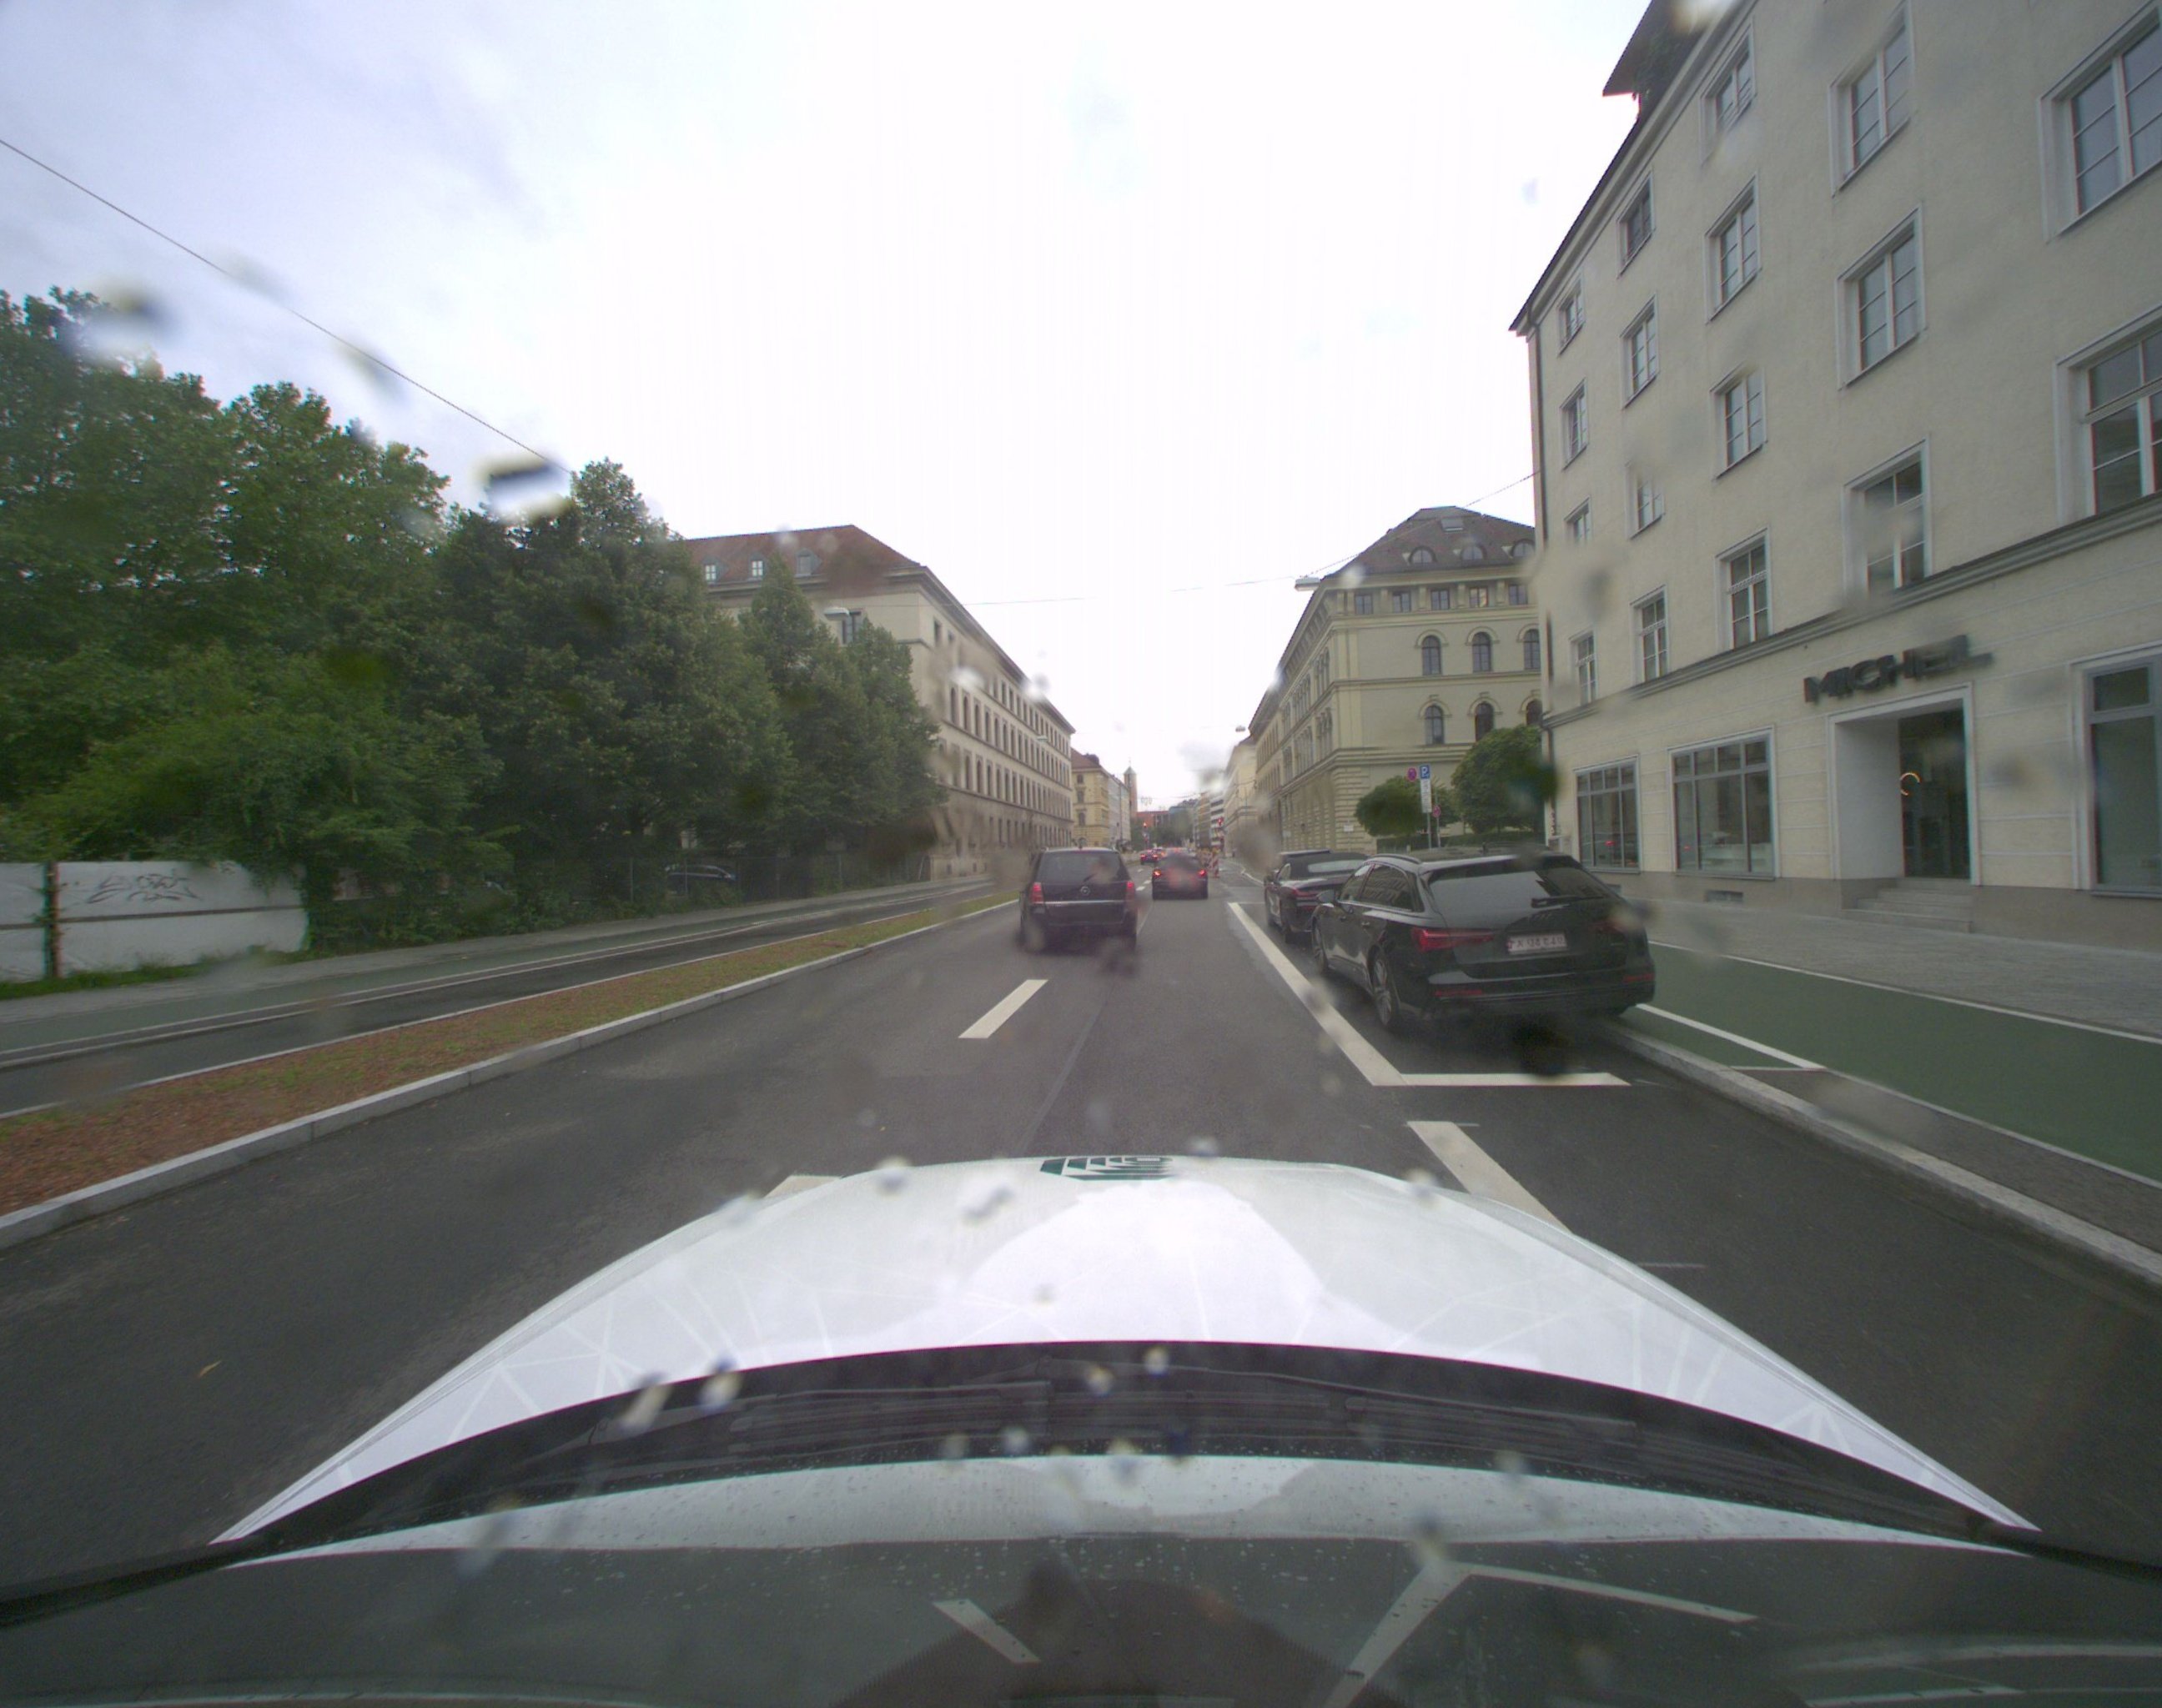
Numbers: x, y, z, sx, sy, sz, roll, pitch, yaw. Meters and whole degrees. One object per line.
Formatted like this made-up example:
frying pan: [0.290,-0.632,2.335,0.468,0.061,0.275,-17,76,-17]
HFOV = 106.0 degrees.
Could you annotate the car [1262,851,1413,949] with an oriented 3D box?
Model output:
car: [4.281,0.668,14.329,1.815,1.407,4.731,-1,0,9]

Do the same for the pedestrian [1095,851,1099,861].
pedestrian: [2.999,0.373,149.725,0.652,1.805,0.729,-2,0,7]

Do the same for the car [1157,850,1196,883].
car: [4.452,0.551,37.758,1.720,1.403,4.009,-1,0,7]

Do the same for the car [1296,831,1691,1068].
car: [3.412,0.651,7.845,1.800,1.480,4.470,-6,0,6]

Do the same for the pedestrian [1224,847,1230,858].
pedestrian: [22.021,-0.254,122.739,0.746,1.618,0.715,-2,0,15]

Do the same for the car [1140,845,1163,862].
car: [6.954,-0.048,80.215,1.982,1.627,4.009,-2,0,8]

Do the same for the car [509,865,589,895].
car: [-31.629,1.510,48.570,1.761,1.544,4.008,-2,0,7]

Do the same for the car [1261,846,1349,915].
car: [5.441,0.579,20.176,1.665,1.521,3.839,-1,0,9]

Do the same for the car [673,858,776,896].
car: [-17.598,1.144,40.309,4.239,1.649,1.808,-2,0,7]

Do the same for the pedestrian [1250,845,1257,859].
pedestrian: [21.653,-0.259,102.234,0.706,1.618,0.756,-2,0,7]

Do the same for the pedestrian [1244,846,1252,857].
pedestrian: [24.608,-0.379,119.966,0.713,1.618,0.749,-2,0,-22]

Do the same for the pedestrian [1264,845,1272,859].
pedestrian: [21.694,-0.219,94.474,0.706,1.618,0.756,-2,0,7]

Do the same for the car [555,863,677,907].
car: [-18.900,1.255,33.167,4.116,1.588,1.812,-2,0,14]

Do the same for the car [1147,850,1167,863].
car: [8.773,0.273,93.681,1.982,1.444,4.009,-2,0,8]

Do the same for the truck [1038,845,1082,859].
truck: [-3.659,-0.360,141.155,7.341,2.252,2.185,0,0,9]

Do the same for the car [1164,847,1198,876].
car: [5.407,0.364,44.004,1.720,1.461,4.009,-1,0,7]

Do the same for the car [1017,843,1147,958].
car: [-0.133,0.649,13.752,1.762,1.616,4.021,-1,0,-6]

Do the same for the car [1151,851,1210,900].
car: [3.216,0.641,26.200,1.720,1.403,4.009,-1,0,7]
